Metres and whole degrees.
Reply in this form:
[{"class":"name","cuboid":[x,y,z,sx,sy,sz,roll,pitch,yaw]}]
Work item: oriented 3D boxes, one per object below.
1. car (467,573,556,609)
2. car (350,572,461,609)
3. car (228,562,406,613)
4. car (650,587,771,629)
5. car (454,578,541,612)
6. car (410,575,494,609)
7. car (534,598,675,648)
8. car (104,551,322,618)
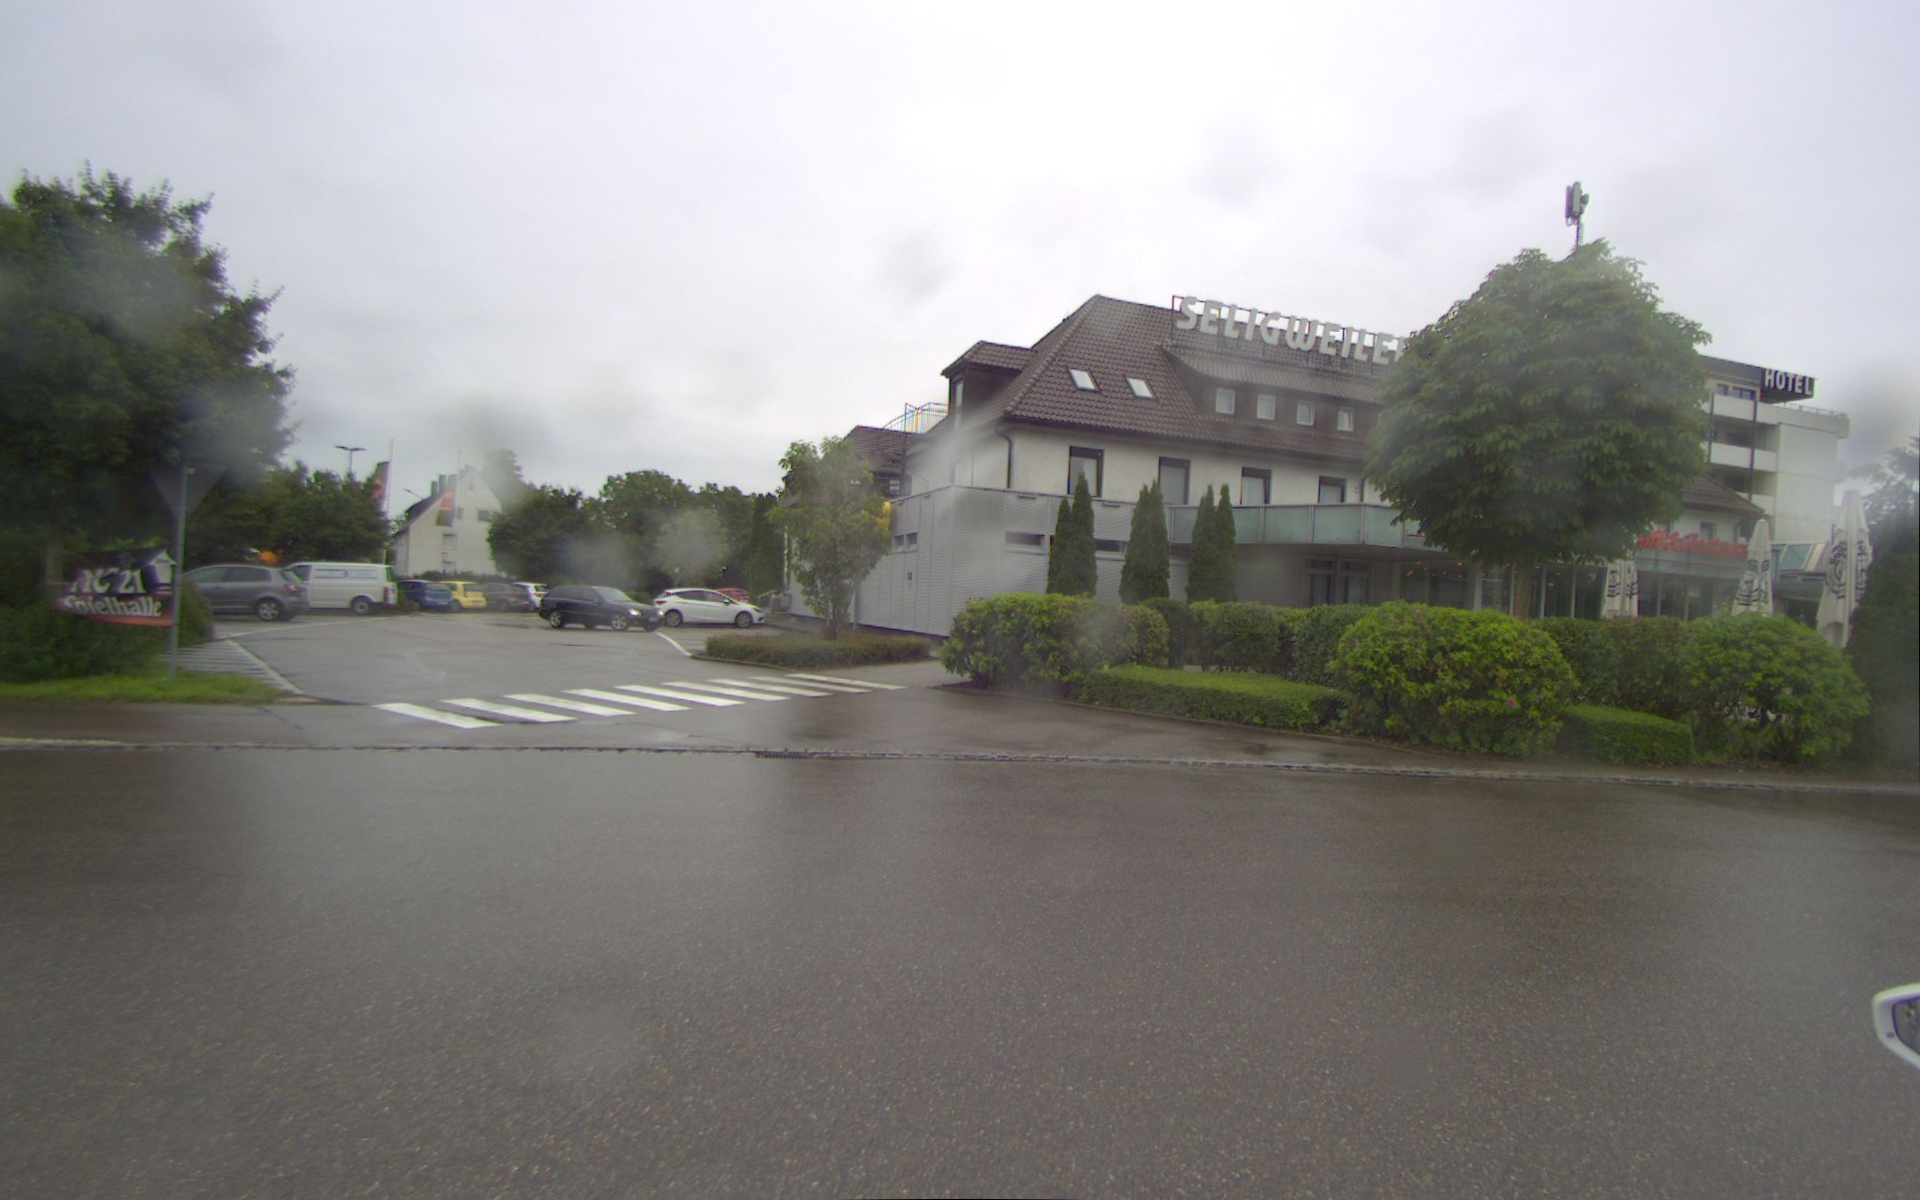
[{"class":"car","cuboid":[-23.459,-0.472,52.569,3.921,1.751,1.990,1,0,19]},{"class":"car","cuboid":[-25.095,-0.409,45.460,4.558,1.571,1.999,1,0,22]},{"class":"car","cuboid":[-24.070,-0.423,37.883,5.297,1.745,1.991,1,0,-21]},{"class":"car","cuboid":[-9.636,0.312,38.790,4.297,1.444,1.841,2,0,-22]},{"class":"car","cuboid":[-23.201,-0.230,50.365,3.812,1.591,1.749,1,0,20]},{"class":"car","cuboid":[-24.361,-0.383,48.187,3.656,1.570,1.665,1,0,25]},{"class":"car","cuboid":[-11.759,0.732,33.204,4.275,1.444,1.706,2,0,20]},{"class":"car","cuboid":[-21.081,-0.397,28.600,4.540,1.745,1.991,1,0,-21]}]
